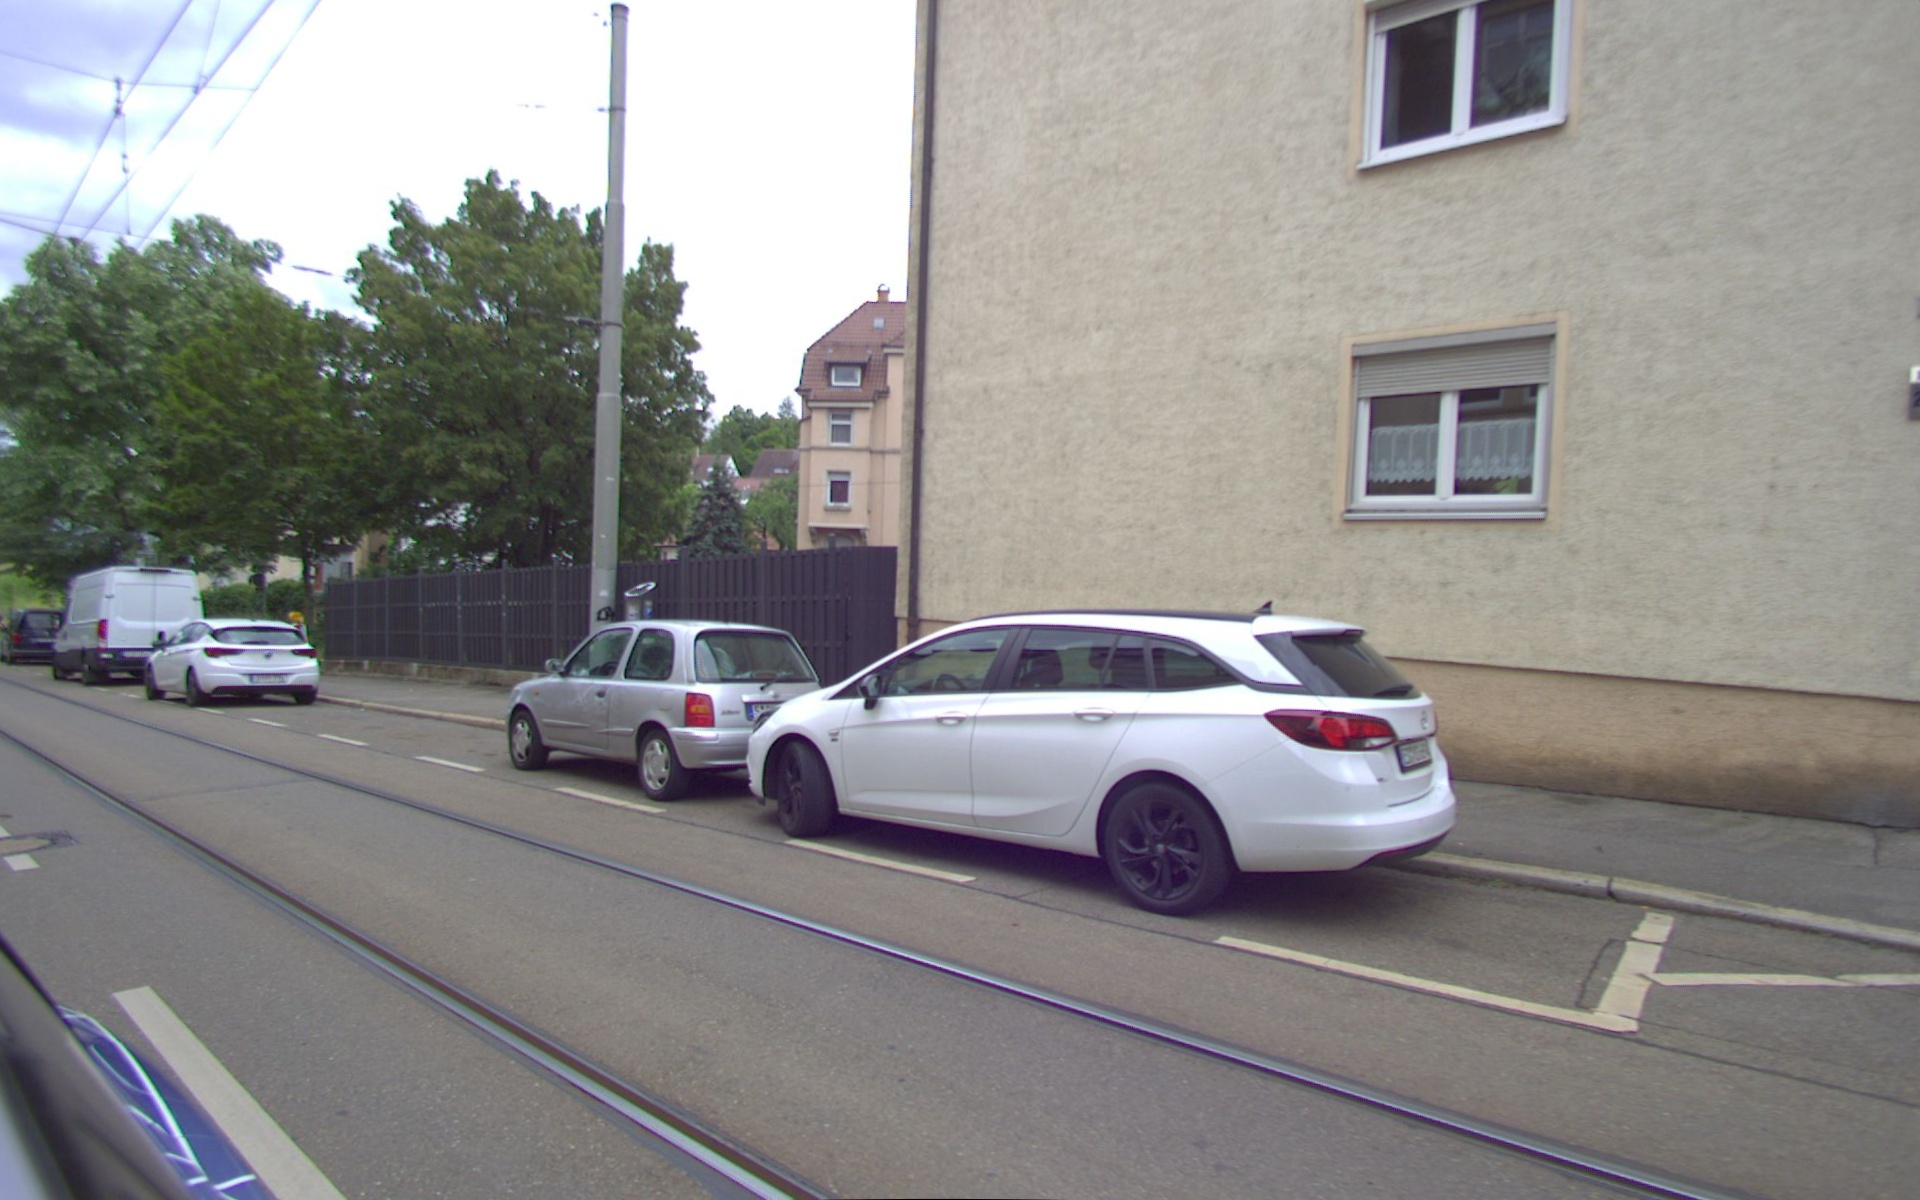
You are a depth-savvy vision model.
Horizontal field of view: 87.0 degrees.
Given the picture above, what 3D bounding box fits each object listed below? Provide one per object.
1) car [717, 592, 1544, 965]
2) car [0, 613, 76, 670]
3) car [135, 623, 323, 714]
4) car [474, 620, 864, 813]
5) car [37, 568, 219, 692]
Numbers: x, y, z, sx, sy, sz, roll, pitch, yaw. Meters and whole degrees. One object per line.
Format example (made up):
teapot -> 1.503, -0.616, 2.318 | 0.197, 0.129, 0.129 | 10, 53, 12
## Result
car -> 0.731, 0.782, 6.107 | 4.622, 1.440, 1.809 | -1, -4, 39
car -> -31.269, 1.360, 34.019 | 4.667, 1.789, 1.743 | -1, -4, 42
car -> -12.888, 1.137, 17.744 | 4.311, 1.413, 1.701 | -1, -4, 41
car -> -2.755, 0.918, 9.148 | 3.806, 1.379, 1.583 | -2, -4, 42
car -> -20.064, 0.738, 24.285 | 6.213, 2.627, 2.137 | -1, -4, 40
